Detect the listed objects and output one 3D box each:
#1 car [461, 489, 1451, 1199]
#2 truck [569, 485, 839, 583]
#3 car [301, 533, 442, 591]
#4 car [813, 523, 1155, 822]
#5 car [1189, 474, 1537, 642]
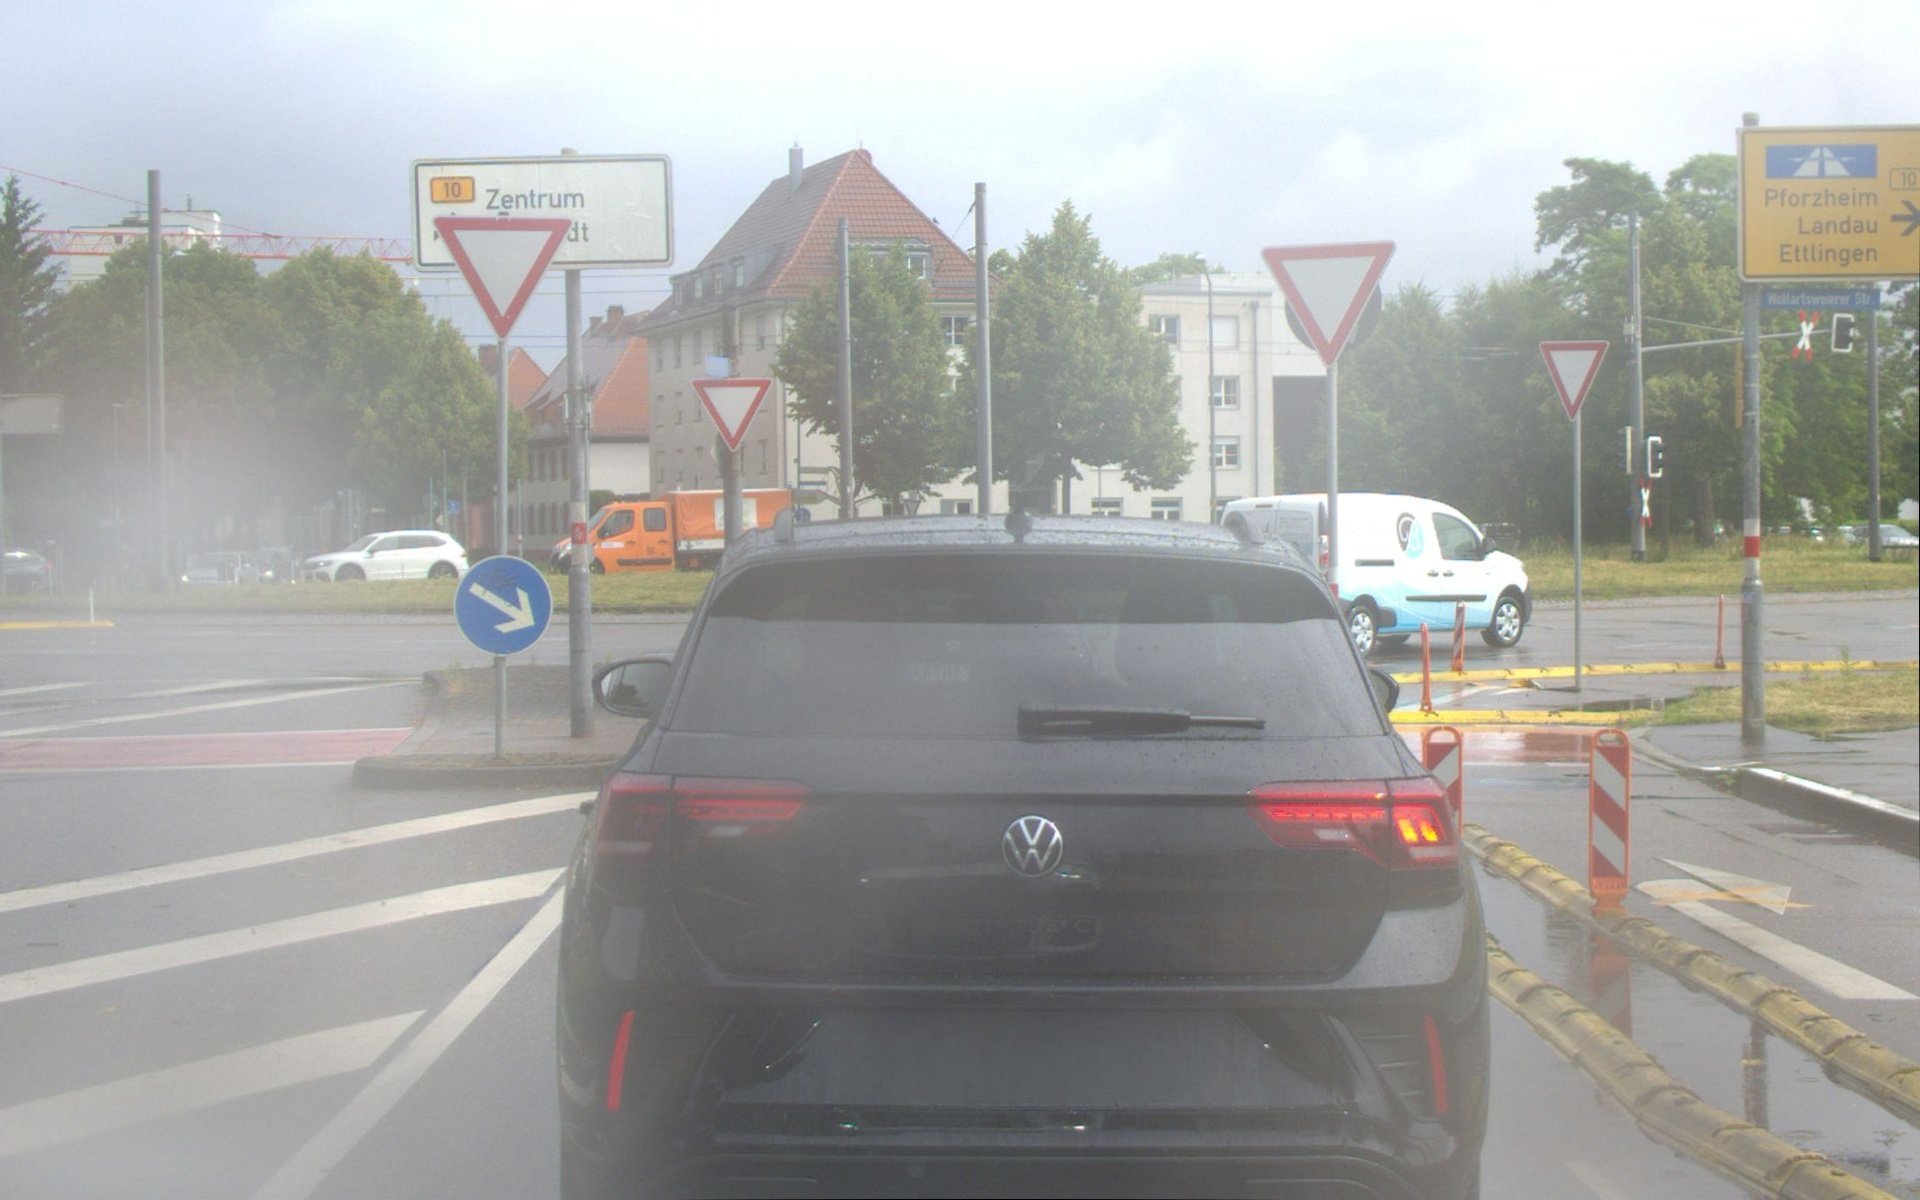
[{"bbox_3d":[-0.107,0.568,7.789,1.708,1.568,3.683,0,1,-3],"label":"car"},{"bbox_3d":[-7.067,-1.838,94.813,7.064,2.641,2.330,-1,1,-17],"label":"truck"},{"bbox_3d":[-16.274,-1.068,95.153,3.495,1.579,1.567,-1,1,-33],"label":"car"},{"bbox_3d":[0.052,0.327,19.248,1.735,1.509,3.604,0,1,-2],"label":"car"},{"bbox_3d":[4.653,-0.505,39.207,1.868,1.803,4.394,1,2,39],"label":"car"}]
